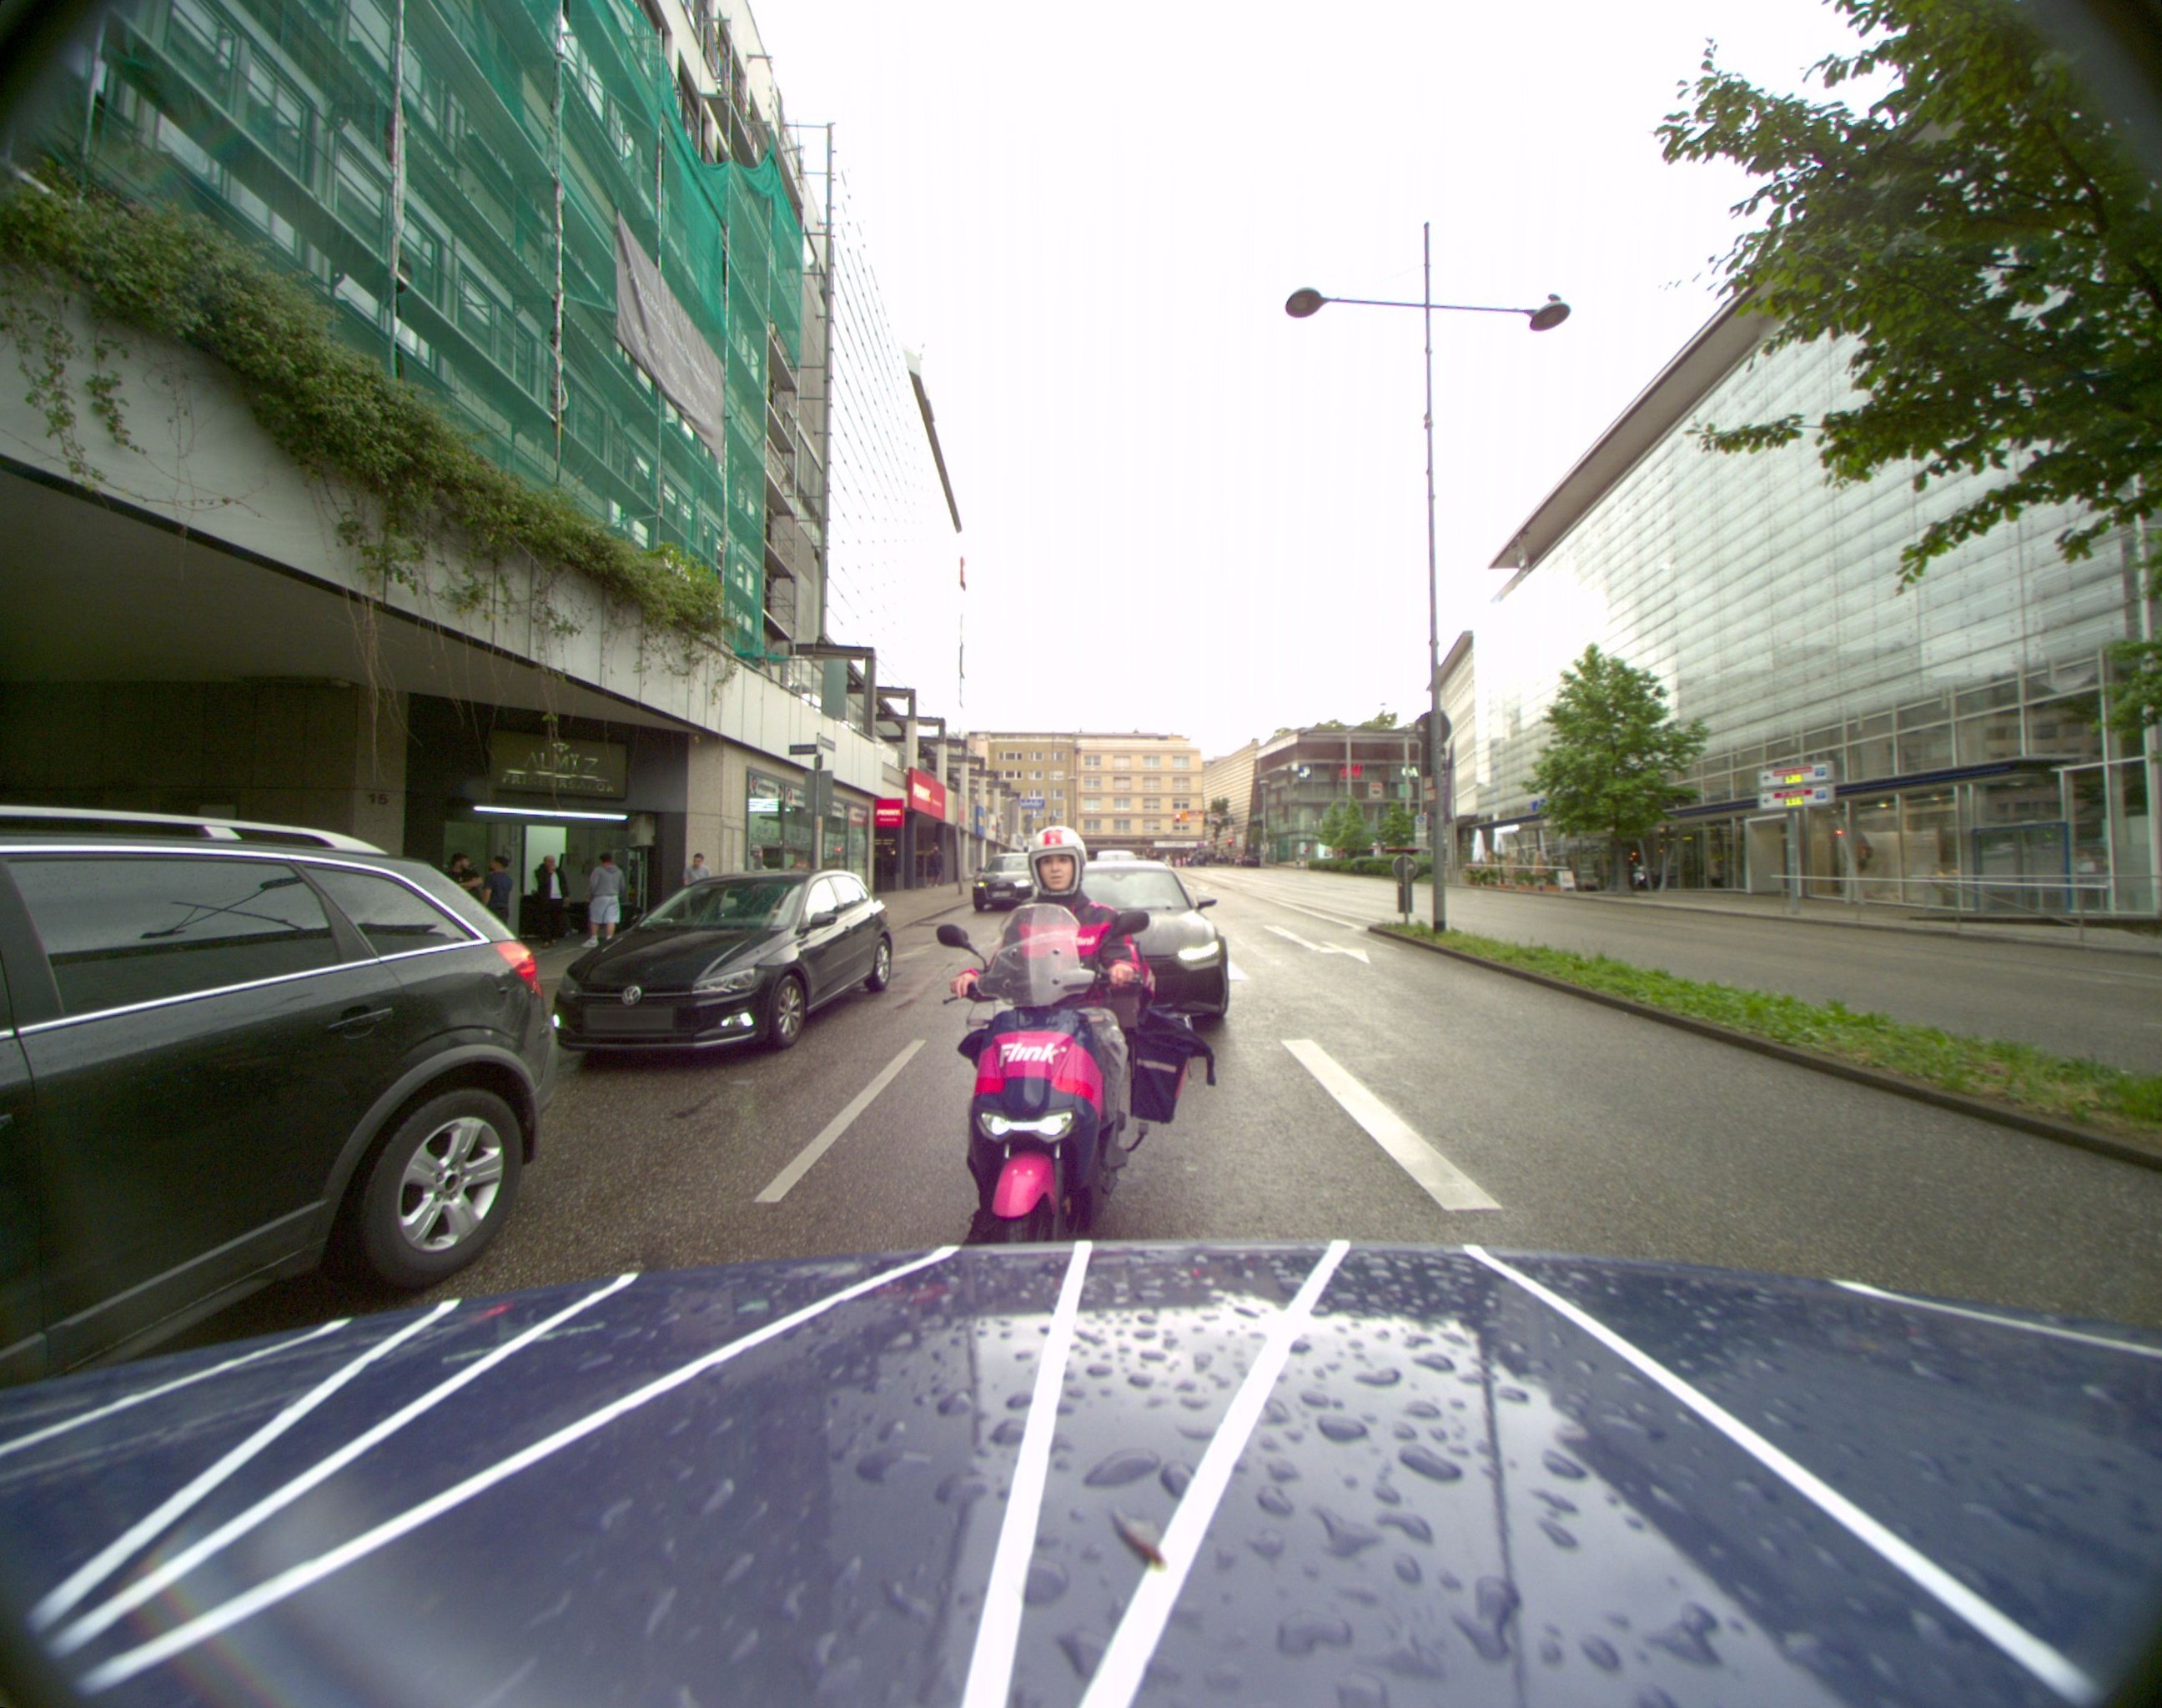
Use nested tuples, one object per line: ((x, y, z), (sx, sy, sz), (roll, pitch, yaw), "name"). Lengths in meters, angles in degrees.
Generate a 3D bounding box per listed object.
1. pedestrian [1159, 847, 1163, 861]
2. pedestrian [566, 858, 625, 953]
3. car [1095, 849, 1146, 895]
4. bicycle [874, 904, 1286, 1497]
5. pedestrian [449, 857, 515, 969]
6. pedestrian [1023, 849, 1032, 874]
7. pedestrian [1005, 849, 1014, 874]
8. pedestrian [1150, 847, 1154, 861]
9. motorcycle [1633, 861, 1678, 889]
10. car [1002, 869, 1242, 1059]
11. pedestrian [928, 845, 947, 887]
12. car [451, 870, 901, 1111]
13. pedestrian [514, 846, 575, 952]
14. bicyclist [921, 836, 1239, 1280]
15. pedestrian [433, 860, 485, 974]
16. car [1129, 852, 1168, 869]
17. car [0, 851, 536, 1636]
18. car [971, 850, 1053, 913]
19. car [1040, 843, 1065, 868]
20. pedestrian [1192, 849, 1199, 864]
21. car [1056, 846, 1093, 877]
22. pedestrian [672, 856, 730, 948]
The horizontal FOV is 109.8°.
((9.169, 0.017, 86.766), (0.428, 1.620, 0.602), (1, 1, 3), "pedestrian")
((-8.583, 0.884, 13.440), (0.578, 1.618, 0.678), (1, 2, 31), "pedestrian")
((1.437, 0.651, 28.075), (1.675, 1.520, 4.165), (-2, -1, 2), "car")
((0.016, 1.012, 3.459), (1.034, 1.279, 2.948), (-2, 1, 1), "bicycle")
((-8.932, 0.853, 11.355), (0.640, 1.586, 0.576), (-3, 2, -32), "pedestrian")
((-3.248, 0.456, 46.235), (0.510, 1.492, 0.579), (0, 2, 0), "pedestrian")
((-4.340, 0.449, 46.314), (0.510, 1.492, 0.579), (0, 2, 0), "pedestrian")
((7.976, 0.000, 85.377), (0.428, 1.620, 0.602), (1, 1, 5), "pedestrian")
((28.123, 1.031, 37.228), (1.707, 1.319, 0.620), (0, 1, 1), "motorcycle")
((0.418, 0.933, 8.201), (1.890, 1.392, 4.164), (-2, 0, 2), "car")
((-5.783, 0.480, 30.640), (0.578, 1.669, 0.511), (1, 2, 22), "pedestrian")
((-3.183, 0.957, 7.105), (1.759, 1.495, 4.165), (-2, -1, 3), "car")
((-9.527, 0.768, 13.494), (0.771, 1.805, 0.745), (2, 2, 44), "pedestrian")
((0.005, 0.713, 3.068), (1.063, 1.534, 0.825), (-2, 2, 0), "bicyclist")
((-9.585, 0.952, 11.712), (0.466, 1.698, 0.484), (0, 2, 42), "pedestrian")
((8.418, 0.808, 94.790), (4.588, 2.002, 1.998), (0, 1, -8), "car")
((-3.332, 0.894, 1.251), (1.764, 1.755, 4.164), (-2, -1, 1), "car")
((-1.926, 0.729, 22.399), (1.841, 1.598, 4.164), (-2, 1, 2), "car")
((-2.393, 0.098, 64.378), (1.605, 2.002, 3.400), (-2, 1, 7), "car")
((13.024, 0.276, 86.486), (0.626, 1.764, 0.689), (-2, 2, 5), "pedestrian")
((-0.330, 0.454, 45.464), (1.988, 1.696, 4.165), (-2, -1, 2), "car")
((-7.037, 0.865, 14.105), (0.639, 1.633, 0.733), (-2, 2, -3), "pedestrian")
